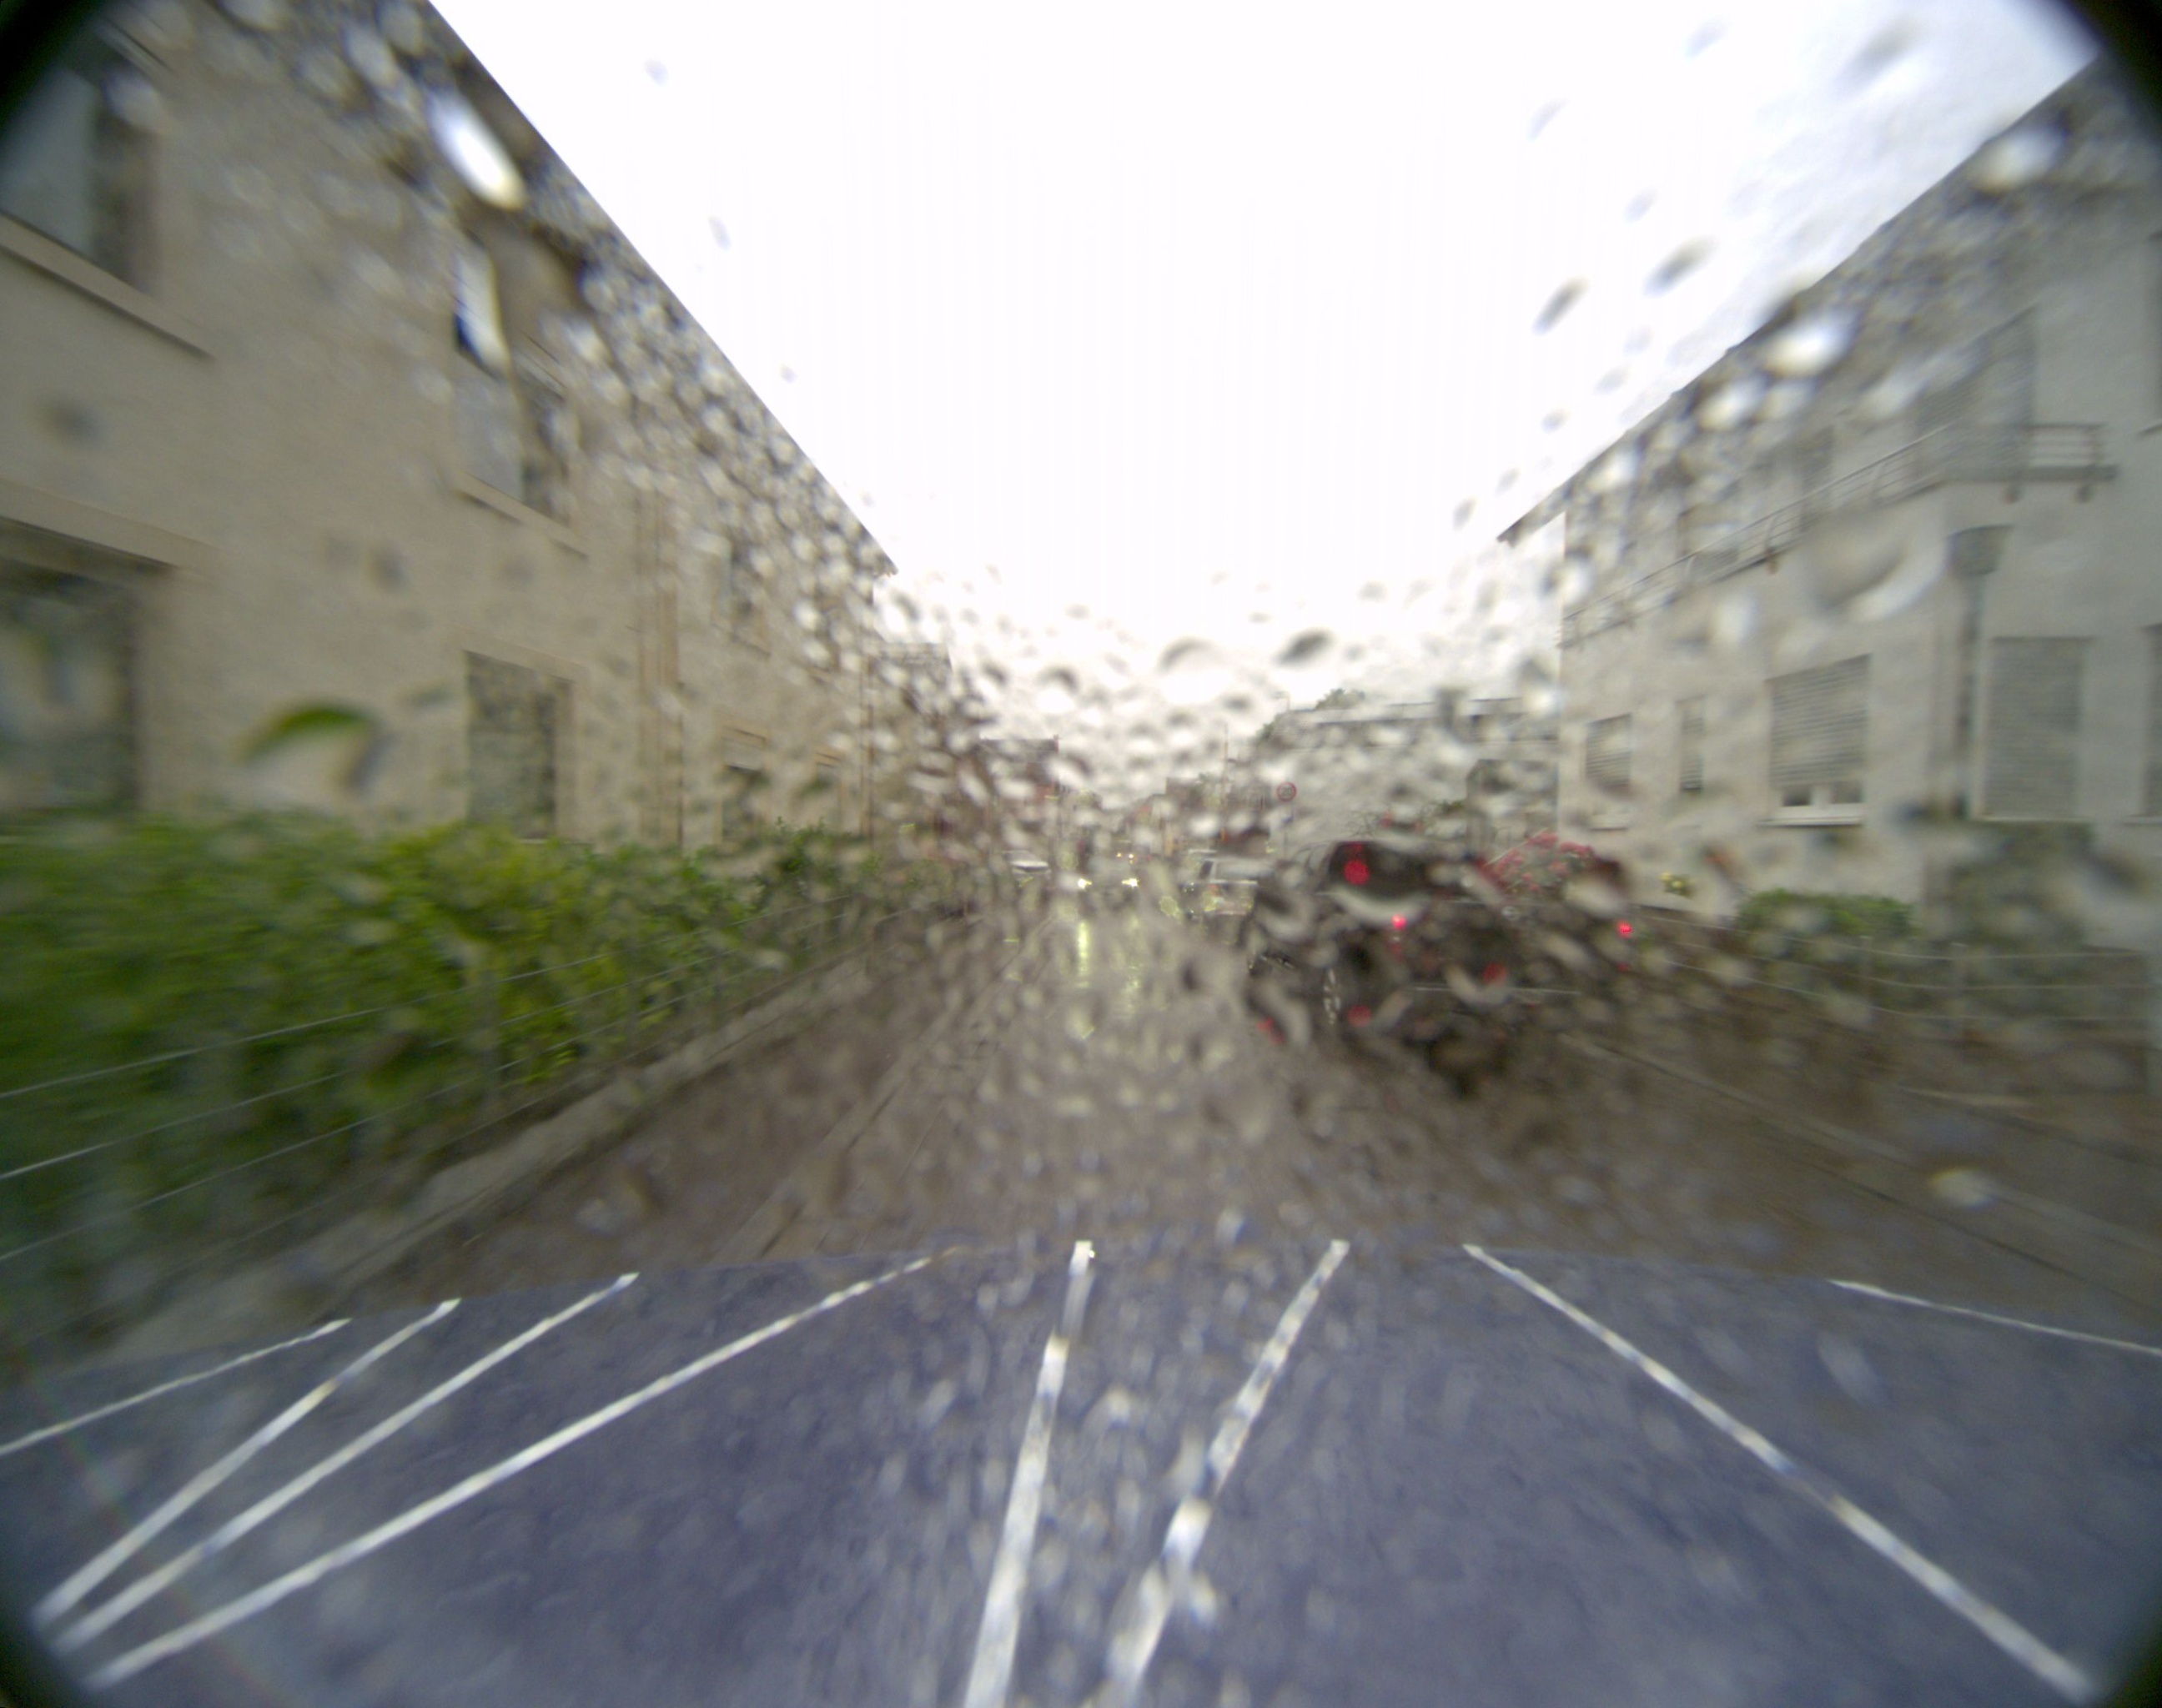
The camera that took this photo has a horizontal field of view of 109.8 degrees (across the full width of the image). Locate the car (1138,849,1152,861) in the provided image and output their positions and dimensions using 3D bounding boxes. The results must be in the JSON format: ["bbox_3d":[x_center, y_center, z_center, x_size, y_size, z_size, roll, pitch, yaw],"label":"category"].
[{"bbox_3d":[8.888,0.143,105.554,1.860,1.497,4.162,1,1,4],"label":"car"}]

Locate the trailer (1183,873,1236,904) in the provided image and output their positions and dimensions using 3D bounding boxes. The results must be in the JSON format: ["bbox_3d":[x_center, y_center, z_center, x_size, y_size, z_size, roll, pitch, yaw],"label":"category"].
[{"bbox_3d":[4.213,1.108,25.235,1.503,0.811,3.006,1,1,5],"label":"trailer"}]

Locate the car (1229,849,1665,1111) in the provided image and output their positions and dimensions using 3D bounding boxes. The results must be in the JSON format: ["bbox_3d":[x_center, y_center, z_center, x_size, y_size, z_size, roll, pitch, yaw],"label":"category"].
[{"bbox_3d":[2.927,0.823,7.635,1.839,1.663,5.196,1,1,0],"label":"car"}]

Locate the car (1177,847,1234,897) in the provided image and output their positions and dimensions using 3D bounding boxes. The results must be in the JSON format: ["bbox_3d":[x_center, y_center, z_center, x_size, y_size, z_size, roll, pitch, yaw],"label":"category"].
[{"bbox_3d":[4.647,0.604,28.779,1.815,1.674,4.185,1,1,6],"label":"car"}]

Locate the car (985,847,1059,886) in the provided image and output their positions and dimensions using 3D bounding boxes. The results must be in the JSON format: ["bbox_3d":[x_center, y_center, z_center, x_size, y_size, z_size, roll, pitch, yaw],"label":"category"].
[{"bbox_3d":[-2.682,0.524,33.859,1.894,1.566,3.883,-3,1,-27],"label":"car"}]

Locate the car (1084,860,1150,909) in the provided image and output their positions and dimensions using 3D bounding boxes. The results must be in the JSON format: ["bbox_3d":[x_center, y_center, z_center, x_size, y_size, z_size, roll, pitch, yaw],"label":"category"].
[{"bbox_3d":[1.004,0.850,22.707,1.667,1.290,3.517,-2,0,-2],"label":"car"}]

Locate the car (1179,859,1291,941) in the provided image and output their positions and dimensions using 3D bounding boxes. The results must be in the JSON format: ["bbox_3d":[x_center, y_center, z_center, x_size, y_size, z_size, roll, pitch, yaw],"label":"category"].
[{"bbox_3d":[3.135,0.882,16.128,1.583,1.472,3.716,2,0,0],"label":"car"}]

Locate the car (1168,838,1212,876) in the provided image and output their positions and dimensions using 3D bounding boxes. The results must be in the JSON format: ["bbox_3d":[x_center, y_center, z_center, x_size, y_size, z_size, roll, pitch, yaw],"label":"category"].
[{"bbox_3d":[4.889,0.101,34.571,1.675,1.607,4.184,1,1,4],"label":"car"}]
